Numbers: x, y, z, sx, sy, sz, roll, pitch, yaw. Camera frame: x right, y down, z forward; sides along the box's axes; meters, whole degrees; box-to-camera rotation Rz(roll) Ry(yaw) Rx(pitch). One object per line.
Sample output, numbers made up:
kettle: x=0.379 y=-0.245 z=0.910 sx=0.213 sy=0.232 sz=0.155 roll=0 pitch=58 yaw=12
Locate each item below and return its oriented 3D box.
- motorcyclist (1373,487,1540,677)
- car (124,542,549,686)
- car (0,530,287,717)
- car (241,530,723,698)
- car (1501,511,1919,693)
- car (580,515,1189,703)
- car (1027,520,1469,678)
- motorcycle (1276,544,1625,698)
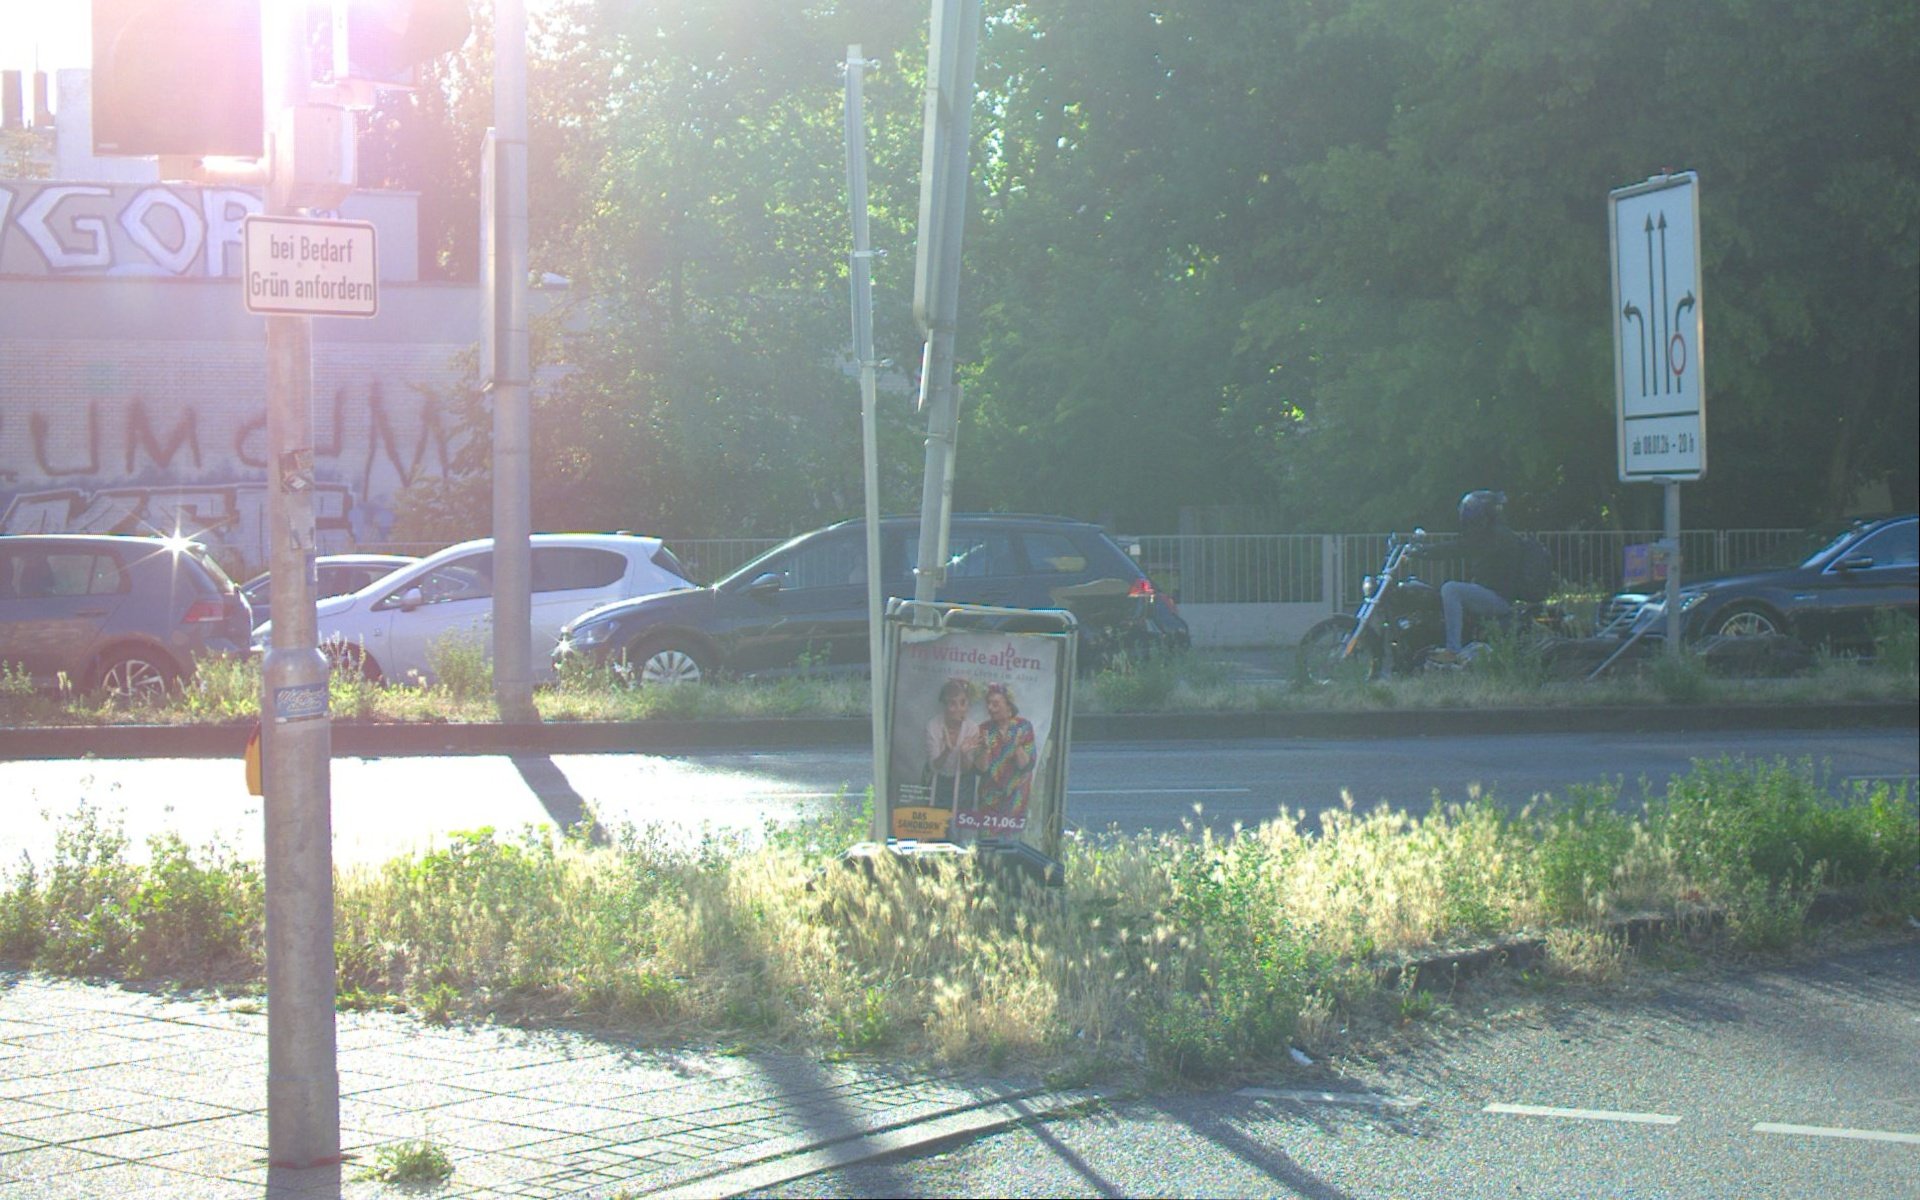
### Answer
motorcyclist: x=3.736 y=-0.141 z=25.913 sx=1.058 sy=1.393 sz=0.854 roll=-1 pitch=1 yaw=-6
car: x=-5.918 y=0.109 z=32.889 sx=3.881 sy=1.292 sz=1.725 roll=-1 pitch=1 yaw=-8
car: x=-7.132 y=0.164 z=24.952 sx=4.234 sy=1.292 sz=1.725 roll=-1 pitch=1 yaw=-5
car: x=-4.006 y=0.092 z=28.930 sx=3.881 sy=1.315 sz=1.725 roll=-1 pitch=1 yaw=-8
car: x=7.618 y=-0.026 z=30.256 sx=5.273 sy=1.490 sz=2.001 roll=-1 pitch=1 yaw=-12
car: x=-0.610 y=0.041 z=25.447 sx=4.361 sy=1.292 sz=1.725 roll=-1 pitch=1 yaw=-6
car: x=2.829 y=-0.039 z=34.126 sx=3.986 sy=1.459 sz=1.860 roll=-1 pitch=2 yaw=-13
motorcycle: x=3.681 y=0.147 z=25.911 sx=2.461 sy=1.104 sz=0.861 roll=-1 pitch=1 yaw=-6
